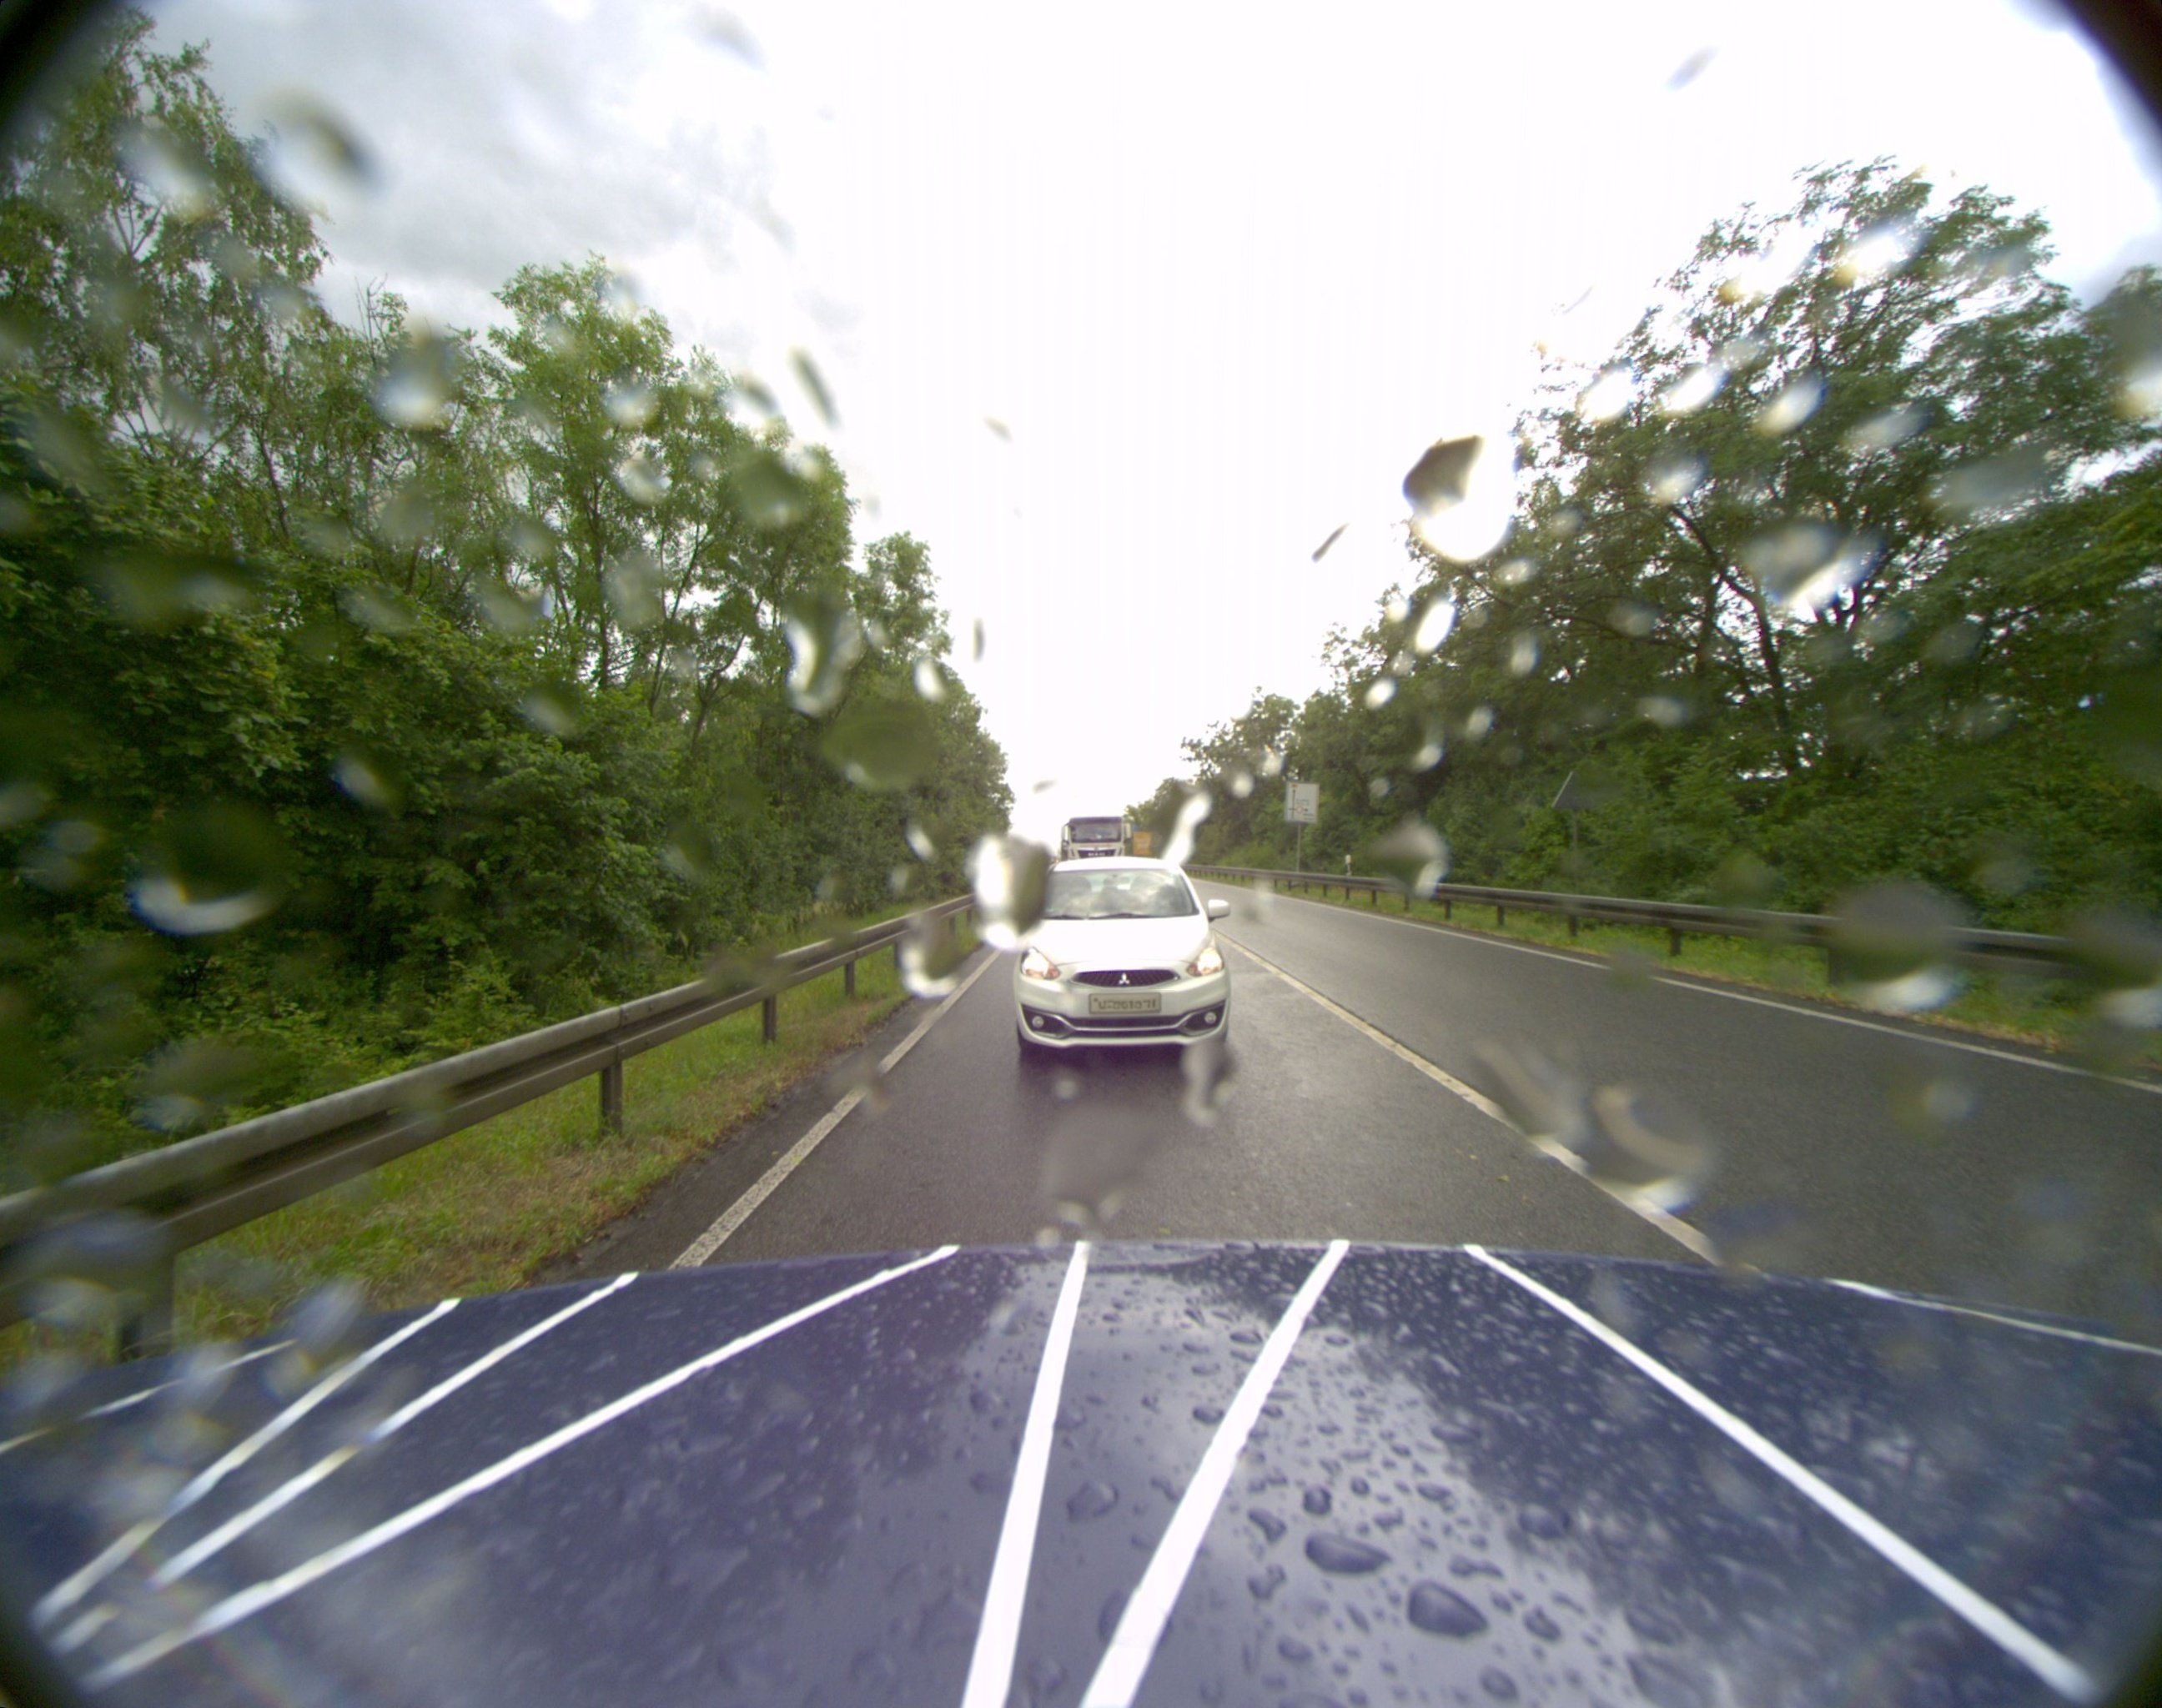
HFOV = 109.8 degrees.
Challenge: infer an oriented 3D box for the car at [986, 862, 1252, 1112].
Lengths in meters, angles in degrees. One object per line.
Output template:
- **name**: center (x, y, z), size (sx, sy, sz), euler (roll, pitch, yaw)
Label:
- **car**: center (0.259, 0.856, 6.860), size (1.610, 1.435, 4.209), euler (-2, 0, 1)

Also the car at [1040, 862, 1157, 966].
- **car**: center (0.326, 0.892, 13.280), size (1.640, 1.413, 4.492), euler (-2, 0, 2)

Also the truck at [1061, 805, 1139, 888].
- **truck**: center (0.718, -0.372, 36.194), size (3.136, 3.364, 9.281), euler (-2, 1, -1)

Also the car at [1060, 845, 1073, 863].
- **car**: center (-1.987, -0.005, 104.301), size (1.613, 2.422, 3.999), euler (-2, 1, 0)
